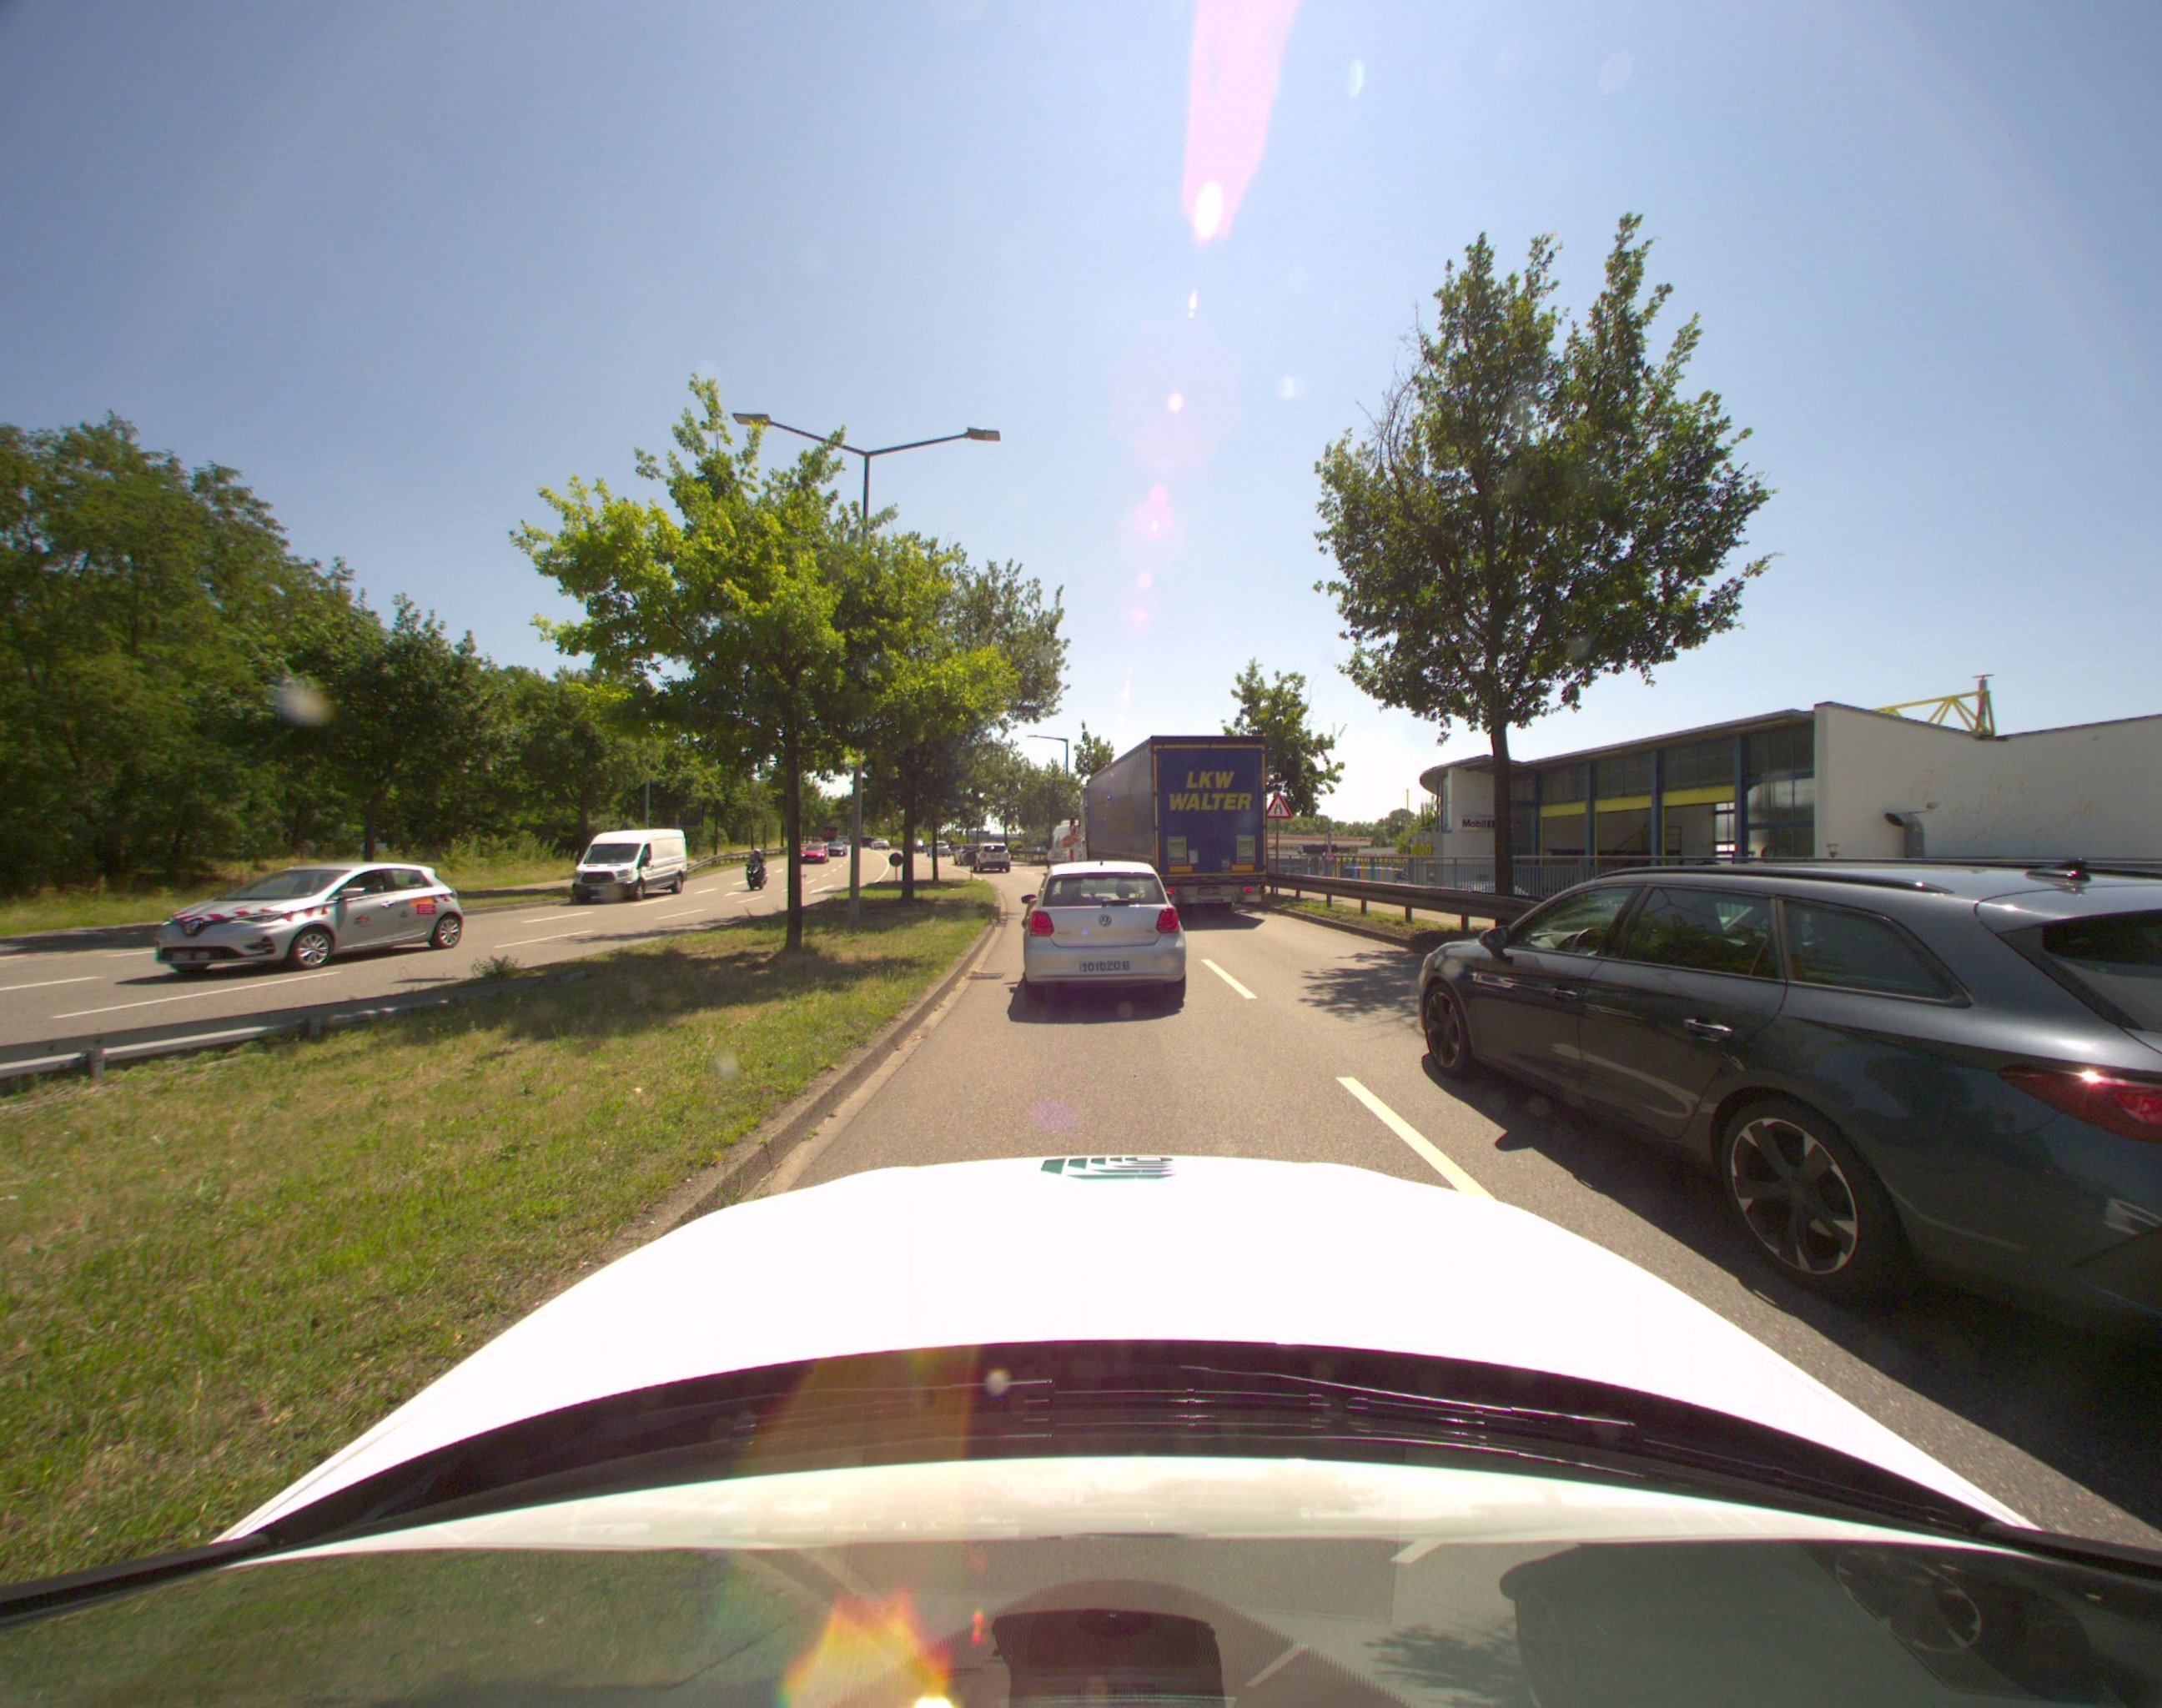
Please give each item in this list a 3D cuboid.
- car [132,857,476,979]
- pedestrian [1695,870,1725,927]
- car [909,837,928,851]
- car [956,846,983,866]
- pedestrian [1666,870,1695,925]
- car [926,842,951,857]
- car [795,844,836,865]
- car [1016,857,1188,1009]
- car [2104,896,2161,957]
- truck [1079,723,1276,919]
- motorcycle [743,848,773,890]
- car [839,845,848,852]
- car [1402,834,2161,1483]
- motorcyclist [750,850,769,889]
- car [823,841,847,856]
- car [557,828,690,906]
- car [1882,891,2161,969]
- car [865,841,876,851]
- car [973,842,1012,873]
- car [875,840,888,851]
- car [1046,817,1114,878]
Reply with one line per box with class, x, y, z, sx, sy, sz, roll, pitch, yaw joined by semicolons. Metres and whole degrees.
car;-11.915;0.867;12.944;1.630;1.567;4.069;-1;0;-2
pedestrian;19.032;1.338;24.653;0.425;1.703;0.588;0;-1;-5
car;-18.197;-1.093;91.068;1.669;1.465;3.560;0;-1;-17
car;-7.913;0.102;57.538;1.497;1.360;3.645;0;0;-14
pedestrian;18.874;1.349;25.653;0.520;1.703;0.487;0;-1;-4
car;-13.563;-0.436;77.369;1.614;1.360;3.637;0;0;-21
car;-20.103;0.047;61.824;1.827;1.437;4.518;-2;0;-4
car;0.205;0.770;9.541;1.641;1.439;3.536;0;-1;0
car;24.773;1.585;17.300;3.568;1.253;1.488;-1;-1;43
truck;2.074;-0.746;25.757;2.829;4.198;16.443;0;0;-5
motorcycle;-13.363;0.606;33.768;0.597;1.678;2.419;0;-1;-8
car;-39.146;-0.929;134.304;1.325;1.139;2.977;0;-1;-18
car;3.208;0.698;3.969;1.600;1.456;4.234;0;-1;0
motorcyclist;-13.371;0.640;33.849;0.586;1.626;0.561;0;-1;-7
car;-23.365;-0.473;77.518;1.811;1.333;4.550;0;-1;-12
car;-16.450;0.370;29.694;2.092;2.500;5.796;-1;1;-7
car;20.392;1.532;16.954;5.017;1.358;2.013;-1;-1;34
car;-29.663;-1.077;114.636;1.421;1.314;3.317;0;-1;-17
car;-5.229;0.232;47.663;1.904;1.718;4.207;0;-1;-11
car;-25.301;-1.070;103.240;1.460;1.314;3.616;0;-1;-17
car;-0.184;-0.382;42.125;2.178;2.900;6.331;0;1;-13
